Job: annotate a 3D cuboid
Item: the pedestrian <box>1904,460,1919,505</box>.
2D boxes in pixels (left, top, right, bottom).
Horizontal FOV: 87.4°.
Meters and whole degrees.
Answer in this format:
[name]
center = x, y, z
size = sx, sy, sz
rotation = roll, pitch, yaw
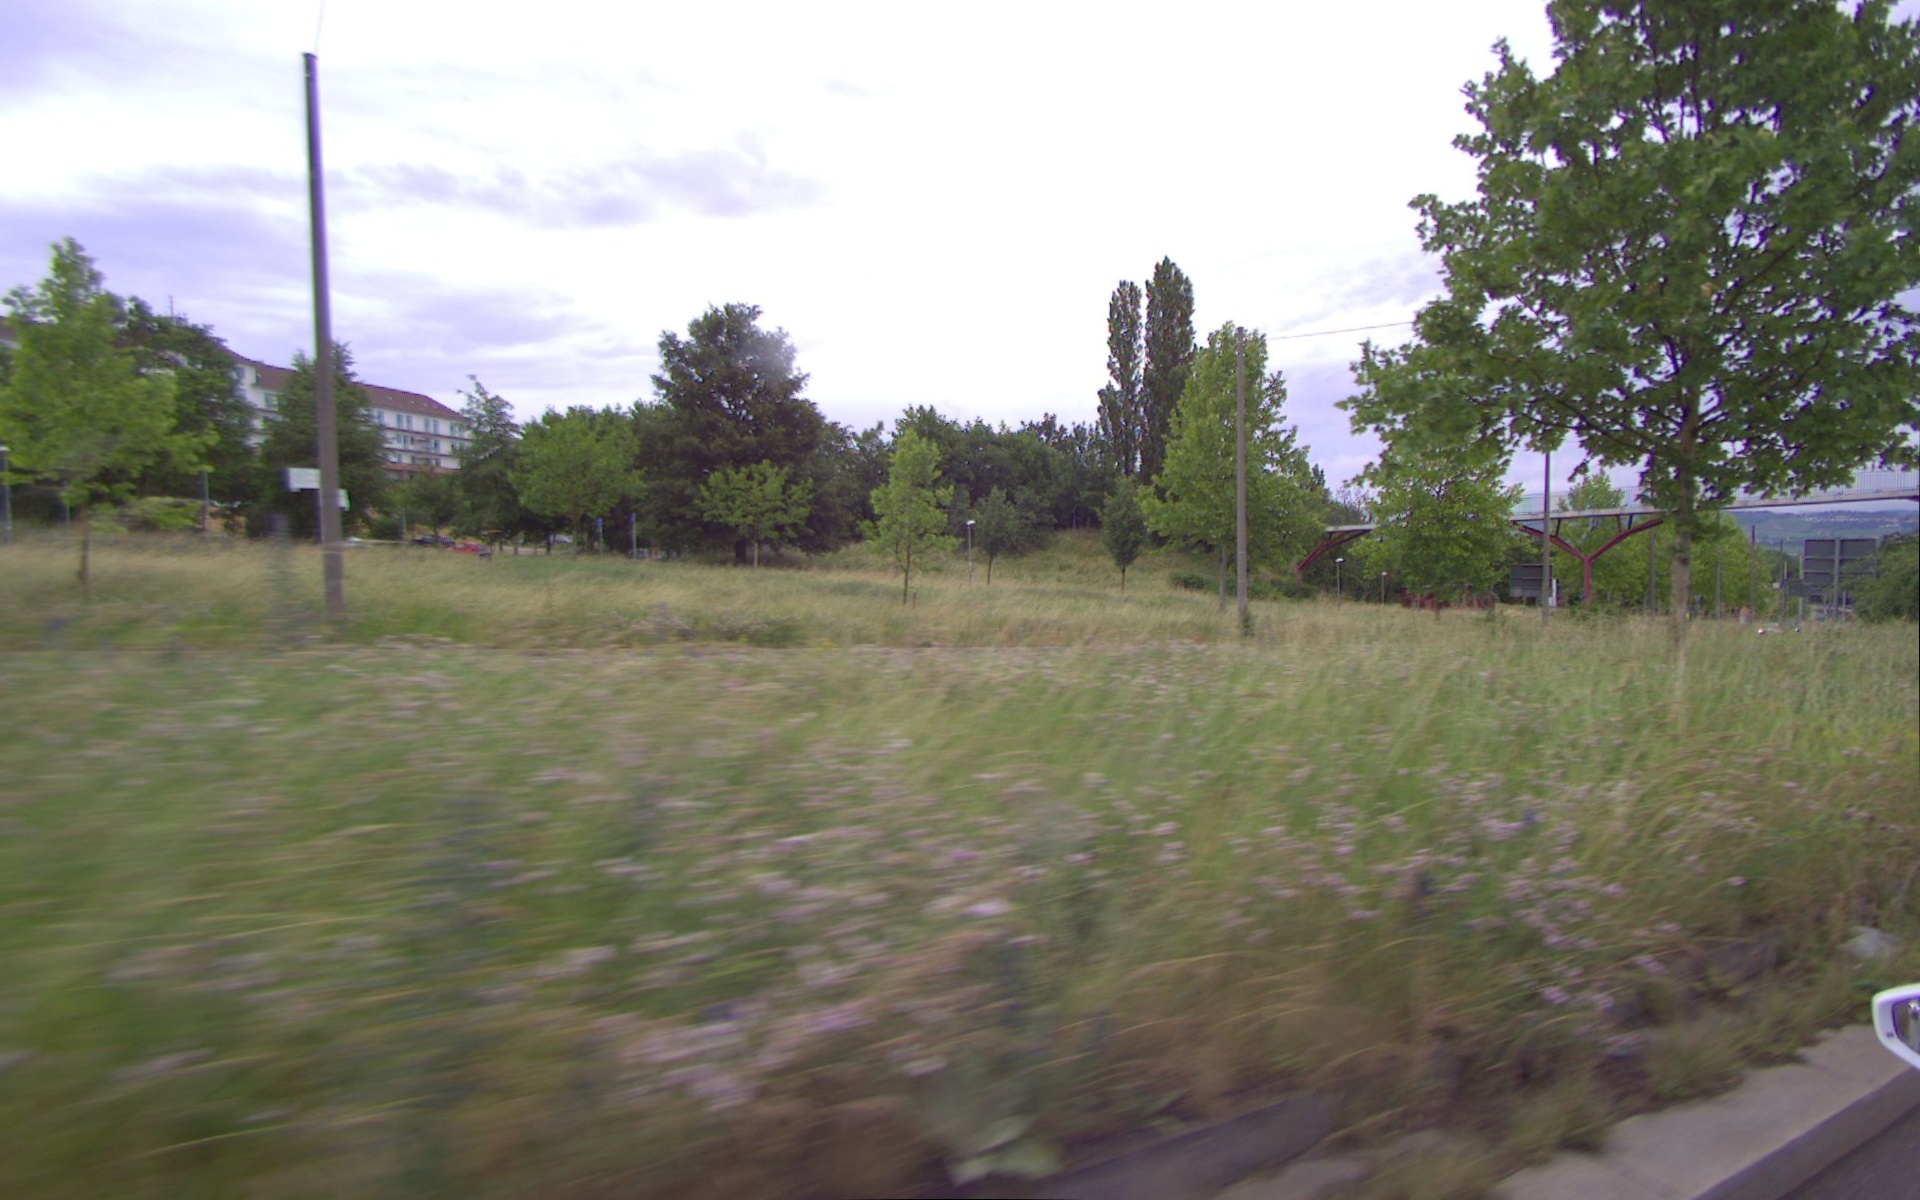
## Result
[pedestrian]
center = 48.587, -5.962, 50.943
size = 0.726, 2.171, 0.906
rotation = 2, -2, -42
